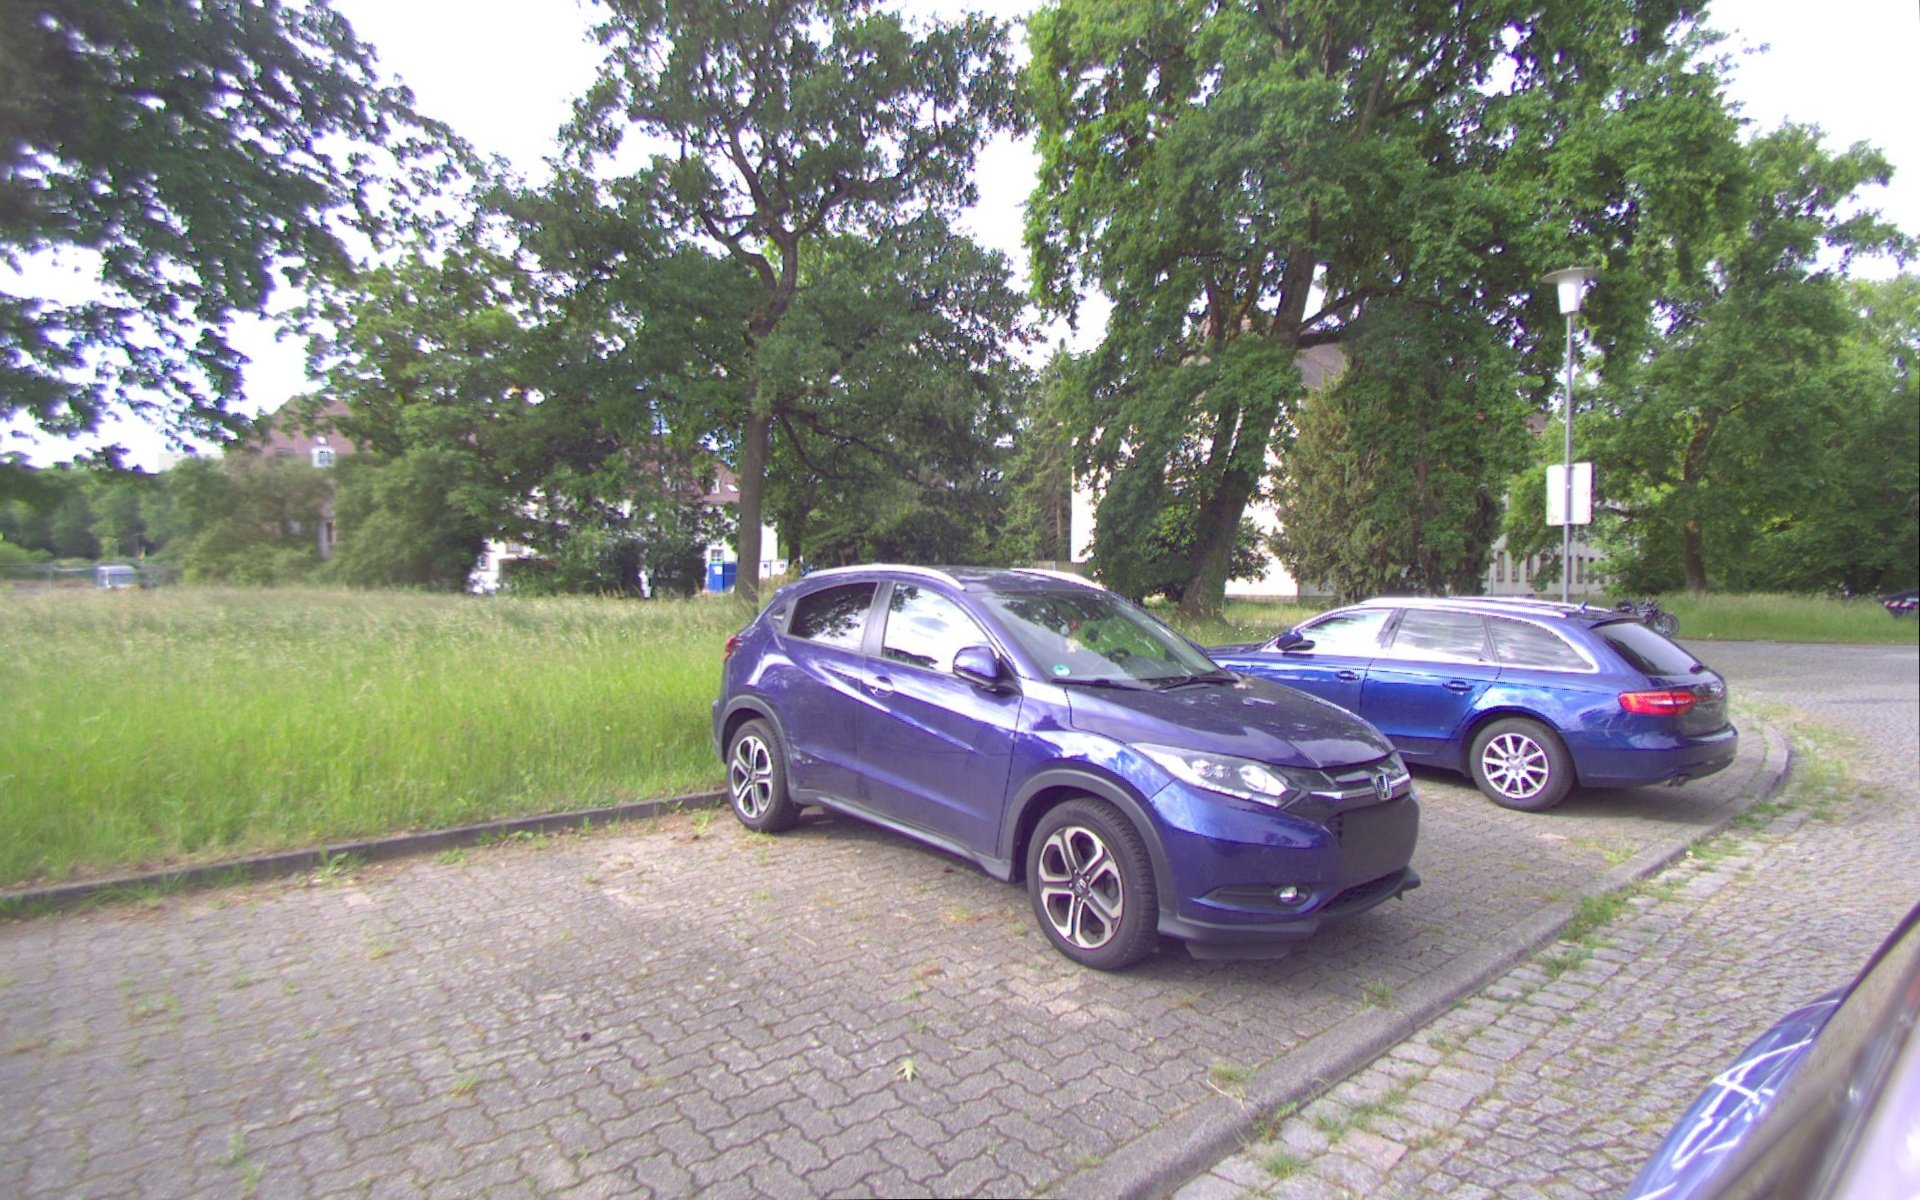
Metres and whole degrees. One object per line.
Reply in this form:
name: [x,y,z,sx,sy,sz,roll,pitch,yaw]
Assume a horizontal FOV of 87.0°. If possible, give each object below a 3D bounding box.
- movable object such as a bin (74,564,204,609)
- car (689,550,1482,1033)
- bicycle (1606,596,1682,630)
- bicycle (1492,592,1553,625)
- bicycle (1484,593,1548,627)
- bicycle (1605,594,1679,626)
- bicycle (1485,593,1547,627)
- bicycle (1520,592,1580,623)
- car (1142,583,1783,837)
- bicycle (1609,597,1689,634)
movable object such as a bin: [-50.708,-0.850,62.666,5.853,2.688,2.179,-1,0,-23]
car: [0.297,0.568,5.486,1.762,1.591,4.169,-2,2,-41]
bicycle: [22.045,0.408,32.656,1.950,1.090,0.584,0,0,22]
bicycle: [20.121,0.302,36.242,1.839,1.137,0.616,0,0,26]
bicycle: [18.835,0.334,34.322,1.839,1.137,0.616,0,0,26]
bicycle: [23.200,0.330,34.480,2.009,1.090,0.616,0,0,26]
bicycle: [19.148,0.325,34.876,1.839,1.137,0.616,0,0,26]
bicycle: [21.872,0.263,37.553,1.839,1.137,0.616,0,0,26]
car: [3.818,0.634,8.473,1.752,1.438,4.482,0,2,-38]
bicycle: [21.231,0.466,31.223,1.950,1.090,0.584,0,0,22]
